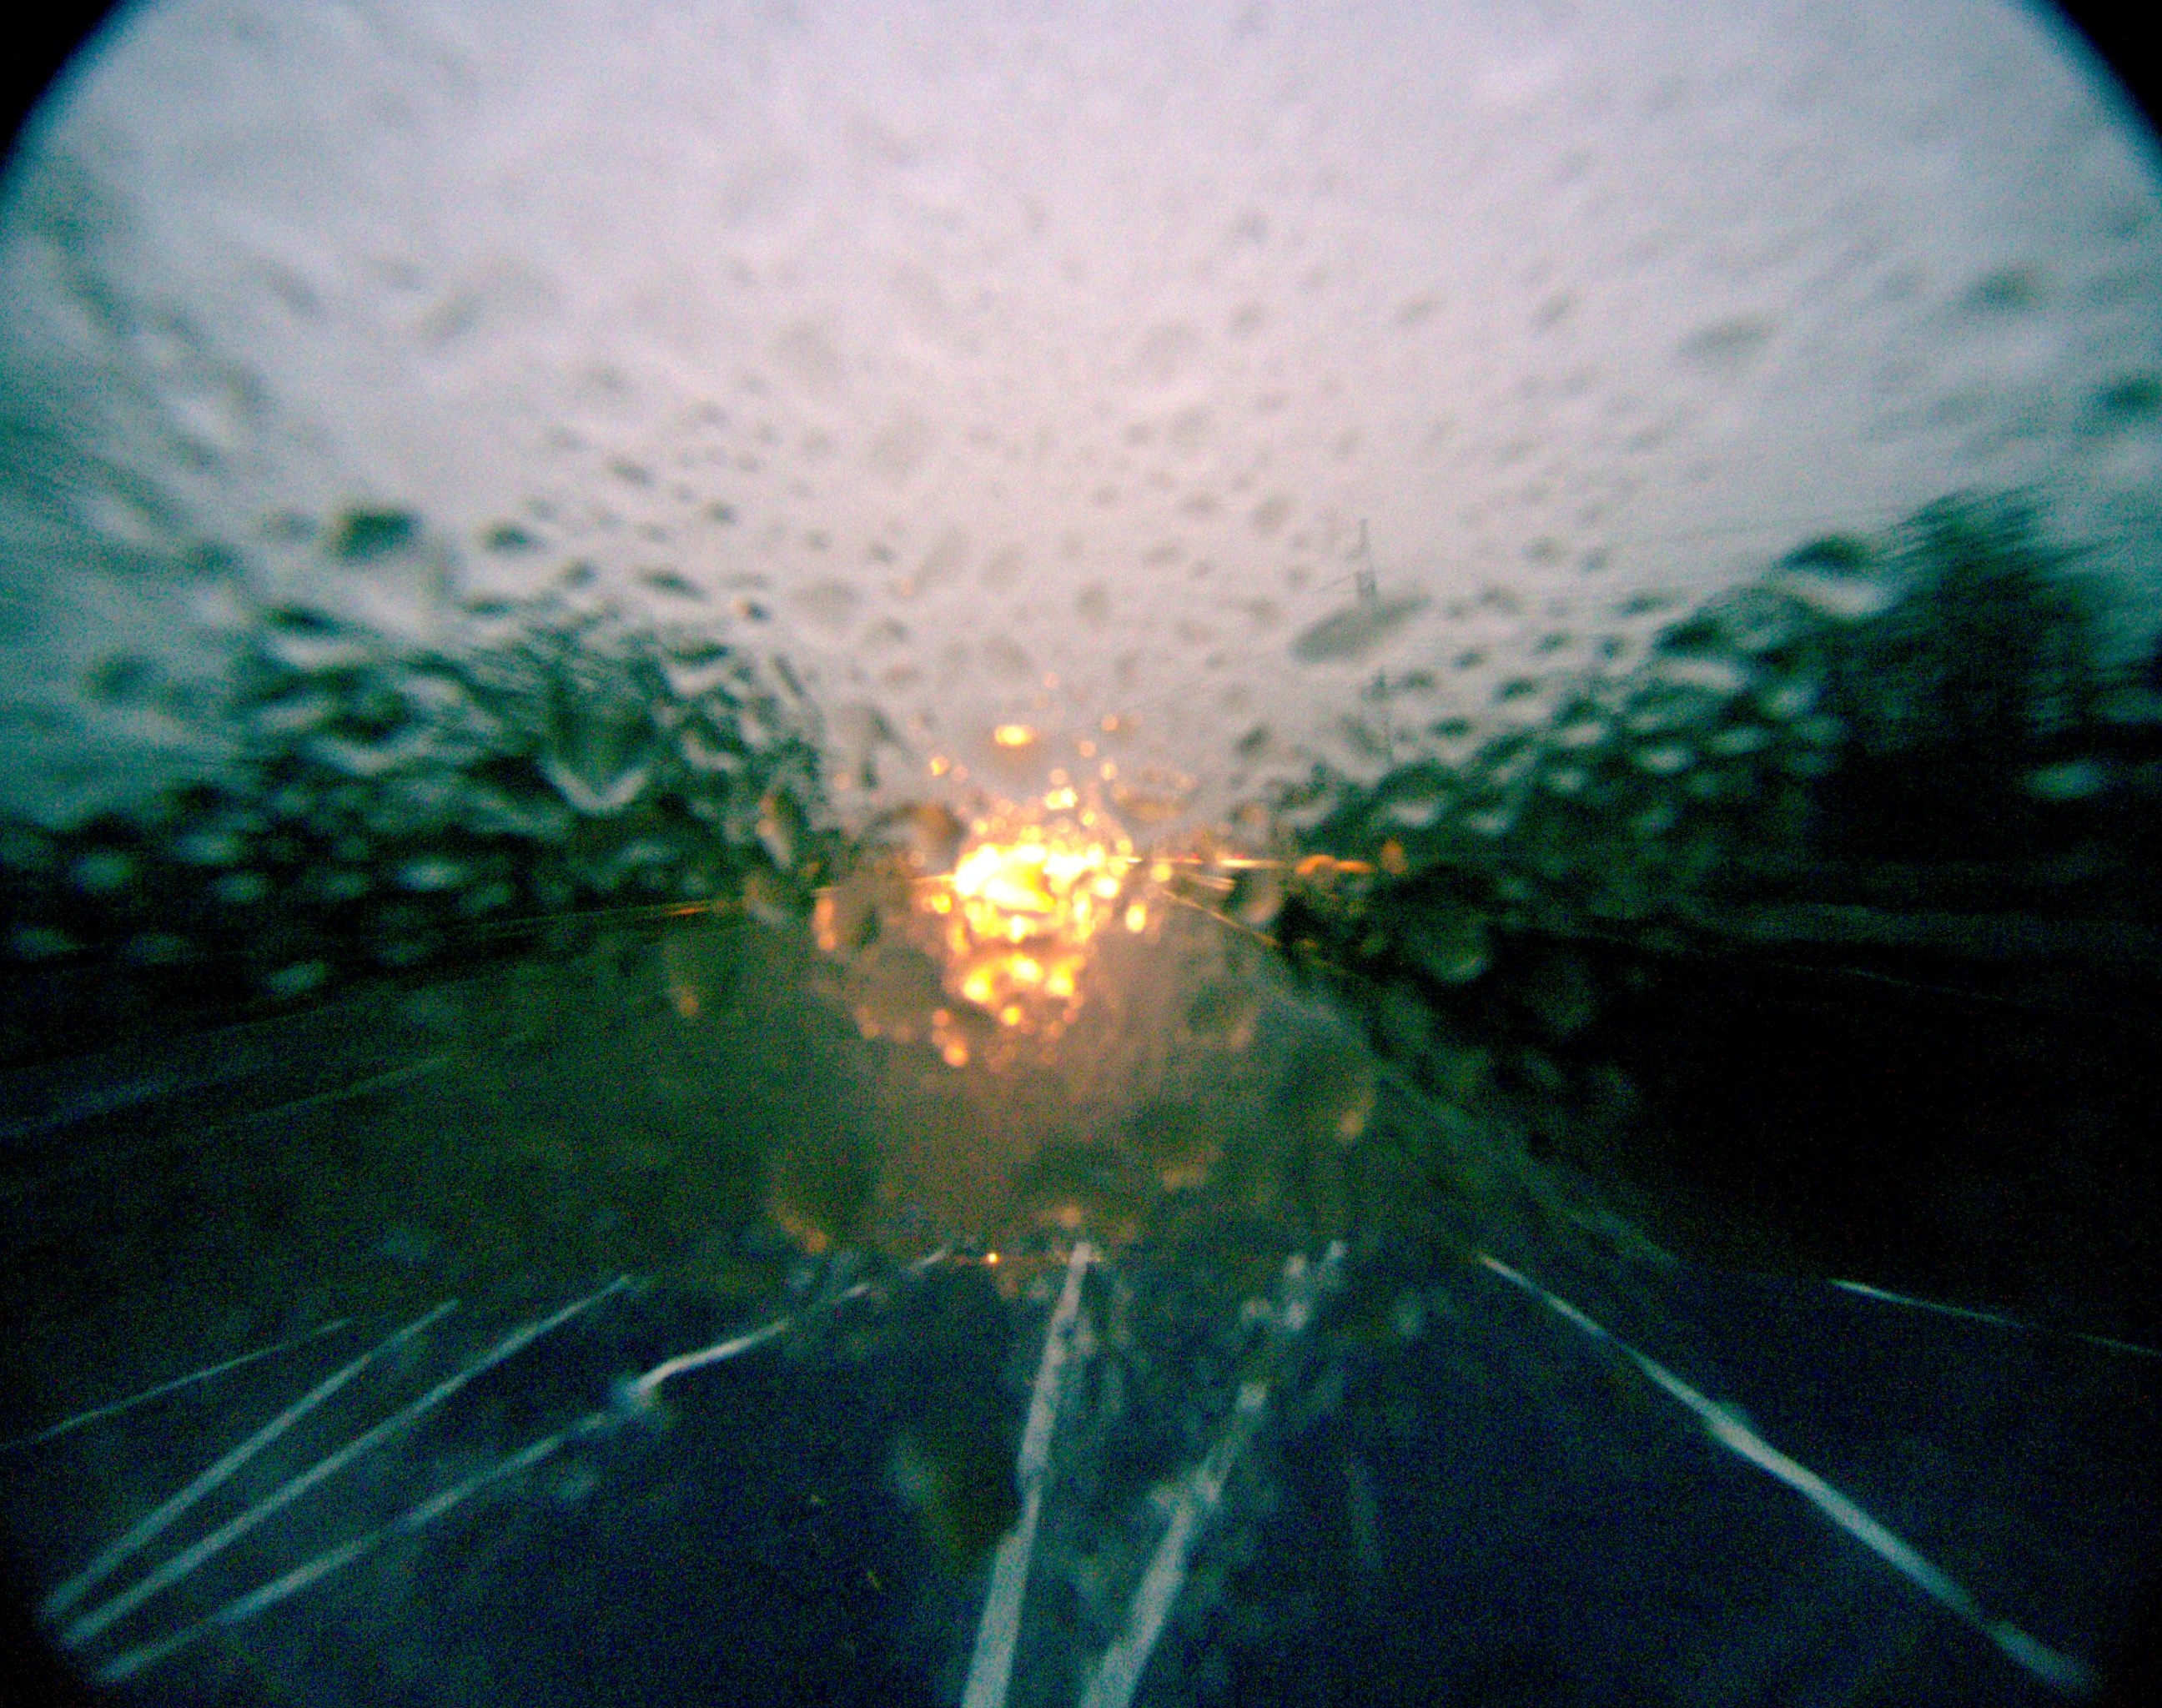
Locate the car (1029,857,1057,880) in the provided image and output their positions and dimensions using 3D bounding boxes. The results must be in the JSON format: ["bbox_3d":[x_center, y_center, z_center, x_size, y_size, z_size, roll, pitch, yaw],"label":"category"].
[{"bbox_3d":[-2.747,1.021,55.515,1.682,1.500,3.808,-3,0,1],"label":"car"}]

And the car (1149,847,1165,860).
[{"bbox_3d":[11.657,-0.121,117.392,1.998,1.758,3.999,-4,1,0],"label":"car"}]

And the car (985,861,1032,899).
[{"bbox_3d":[-3.132,1.100,33.329,1.598,1.482,3.594,-3,0,1],"label":"car"}]

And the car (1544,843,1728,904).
[{"bbox_3d":[14.140,0.446,19.707,1.708,1.343,4.156,-3,0,1],"label":"car"}]

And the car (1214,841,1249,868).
[{"bbox_3d":[12.225,0.027,61.893,1.998,1.997,4.000,-3,0,1],"label":"car"}]

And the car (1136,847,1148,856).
[{"bbox_3d":[12.066,-0.467,150.234,1.998,1.572,4.000,-4,1,2],"label":"car"}]

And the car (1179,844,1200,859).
[{"bbox_3d":[12.572,-0.294,88.150,1.758,1.648,4.000,-3,0,1],"label":"car"}]

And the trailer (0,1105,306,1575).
[{"bbox_3d":[-3.572,1.356,1.139,1.752,0.919,2.951,-2,0,0],"label":"trailer"}]
